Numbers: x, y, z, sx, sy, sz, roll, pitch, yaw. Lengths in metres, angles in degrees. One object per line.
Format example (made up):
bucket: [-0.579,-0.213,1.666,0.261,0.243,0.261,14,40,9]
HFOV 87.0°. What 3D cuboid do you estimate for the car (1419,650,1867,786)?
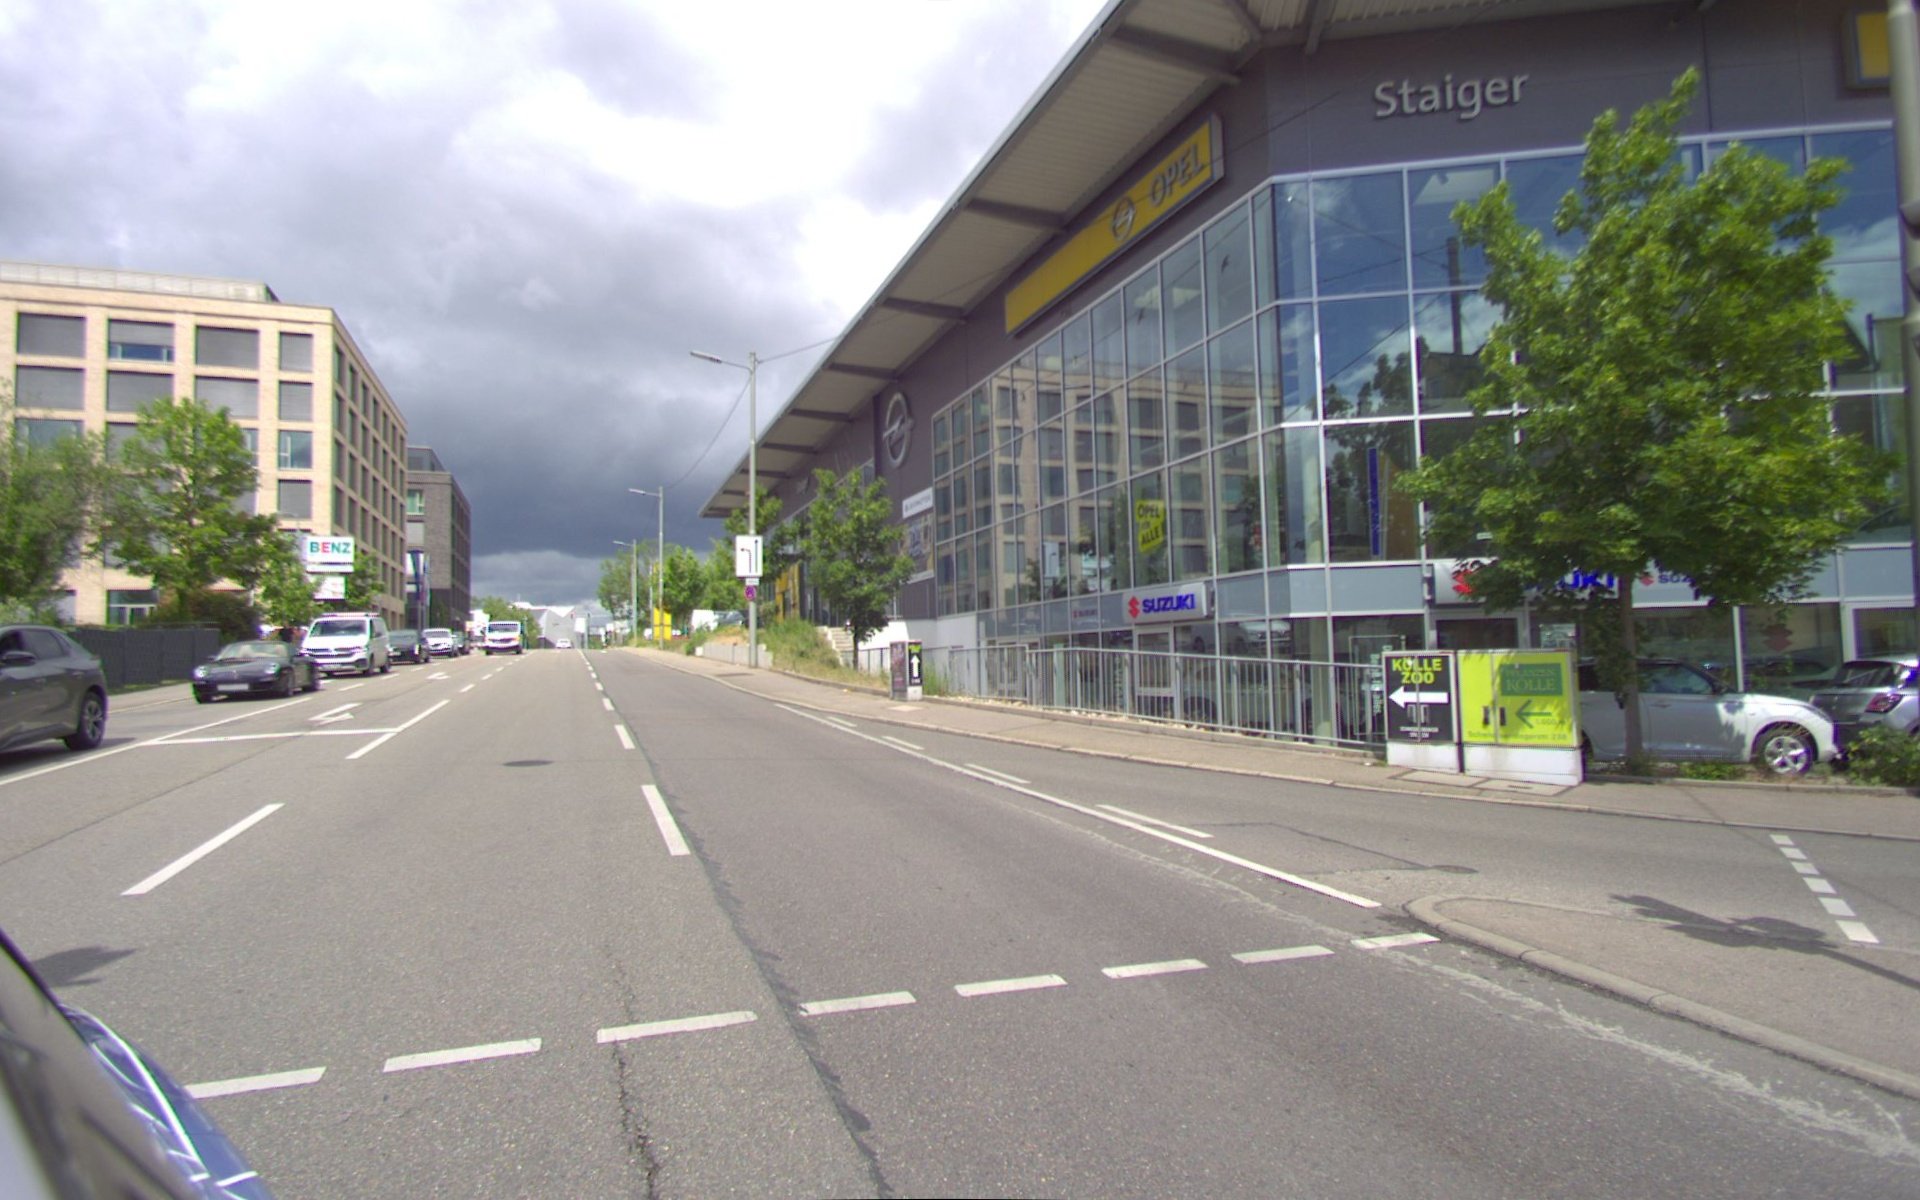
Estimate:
car: [8.429,1.439,12.953,4.262,1.485,1.941,-1,-1,12]

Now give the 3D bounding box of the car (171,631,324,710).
car: [-16.049,1.507,23.042,1.965,1.477,4.345,-1,0,-23]

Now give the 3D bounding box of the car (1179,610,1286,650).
car: [12.049,1.286,45.154,1.965,1.624,4.897,-1,0,-24]

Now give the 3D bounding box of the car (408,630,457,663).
car: [-28.131,2.460,54.107,1.965,1.545,4.345,-1,0,-23]

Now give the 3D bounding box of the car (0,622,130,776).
car: [-11.294,1.071,11.150,1.965,1.590,5.114,-1,-2,-23]

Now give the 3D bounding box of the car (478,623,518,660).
car: [-26.975,2.371,59.223,1.965,2.008,5.006,-1,0,-23]

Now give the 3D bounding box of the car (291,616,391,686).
car: [-19.898,1.557,32.753,1.965,2.027,4.832,-1,0,-22]

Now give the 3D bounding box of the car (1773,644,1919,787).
car: [12.957,1.341,12.373,4.254,1.574,1.945,-1,-1,7]

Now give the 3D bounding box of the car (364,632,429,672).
car: [-24.041,2.170,43.287,1.965,1.477,4.345,-1,0,-23]

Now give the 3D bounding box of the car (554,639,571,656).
car: [-51.393,6.116,130.842,1.965,1.888,5.006,-1,0,-23]
